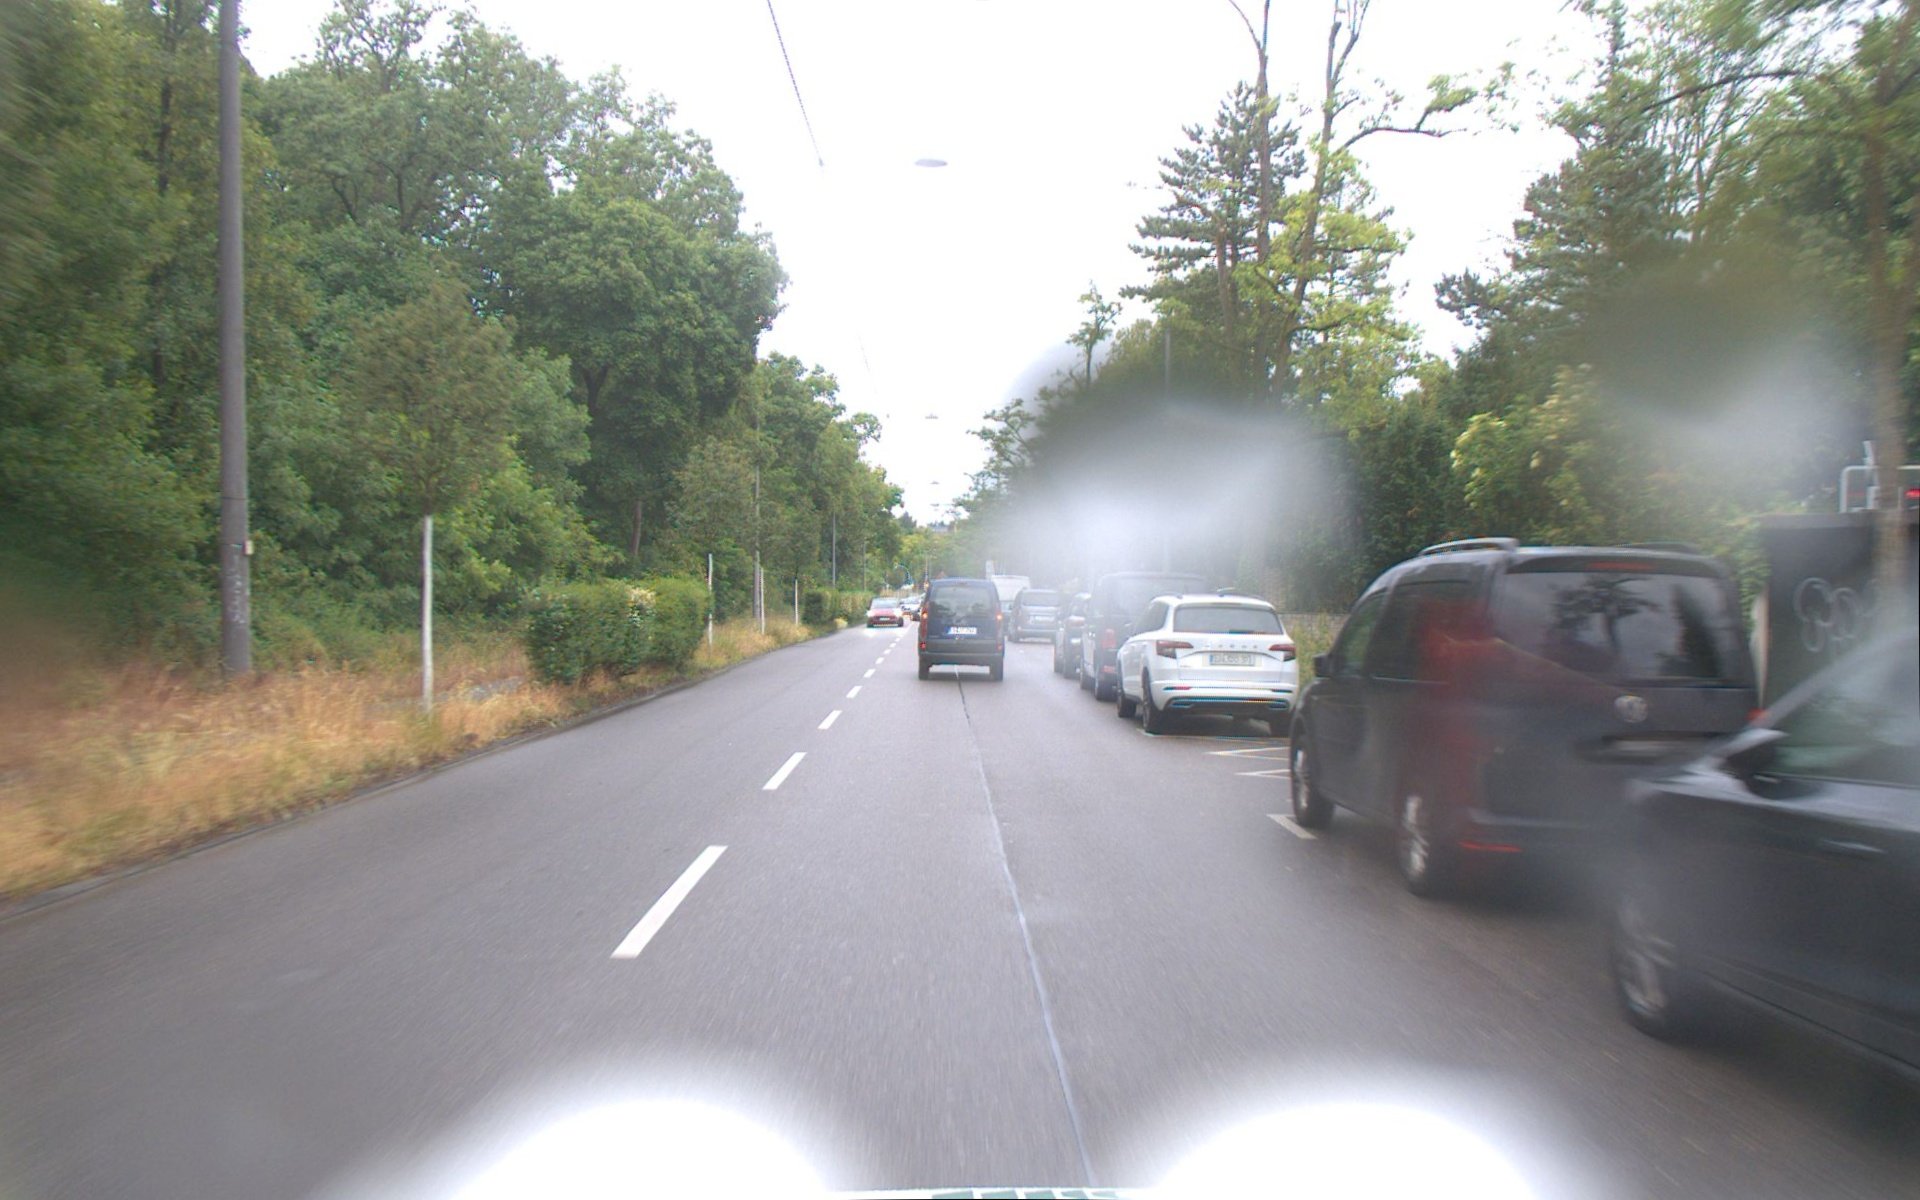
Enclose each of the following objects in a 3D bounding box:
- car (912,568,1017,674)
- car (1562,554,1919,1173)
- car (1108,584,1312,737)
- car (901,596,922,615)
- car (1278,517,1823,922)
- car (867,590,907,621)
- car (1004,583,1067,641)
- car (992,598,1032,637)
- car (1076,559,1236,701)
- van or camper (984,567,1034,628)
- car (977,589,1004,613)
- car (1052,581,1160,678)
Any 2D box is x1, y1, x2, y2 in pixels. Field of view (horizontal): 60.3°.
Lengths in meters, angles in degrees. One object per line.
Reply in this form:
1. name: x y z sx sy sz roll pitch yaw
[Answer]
1. car: 0.026 0.353 31.484 1.732 1.862 3.540 2 1 -4
2. car: 3.291 0.692 4.645 1.644 1.582 4.075 2 1 -1
3. car: 2.985 0.652 20.579 1.768 1.641 4.285 2 1 -1
4. car: -4.010 0.459 137.345 1.747 1.505 3.966 0 -1 -1
5. car: 3.217 0.540 9.987 1.695 1.879 4.230 2 1 -1
6. car: -3.685 0.271 84.120 1.822 1.506 4.156 -1 0 0
7. car: 2.578 0.380 57.154 1.778 1.845 4.281 2 1 -2
8. car: 2.212 0.709 69.758 1.592 1.489 3.809 2 1 2
9. car: 3.069 0.406 26.875 1.953 2.048 4.888 2 1 0
10. van or camper: 2.275 -0.152 77.887 2.036 2.697 5.345 2 1 -1
11. car: 2.000 0.039 110.732 1.686 1.532 4.050 2 1 0
12. car: 2.873 0.531 33.320 1.737 1.753 4.326 2 1 0
